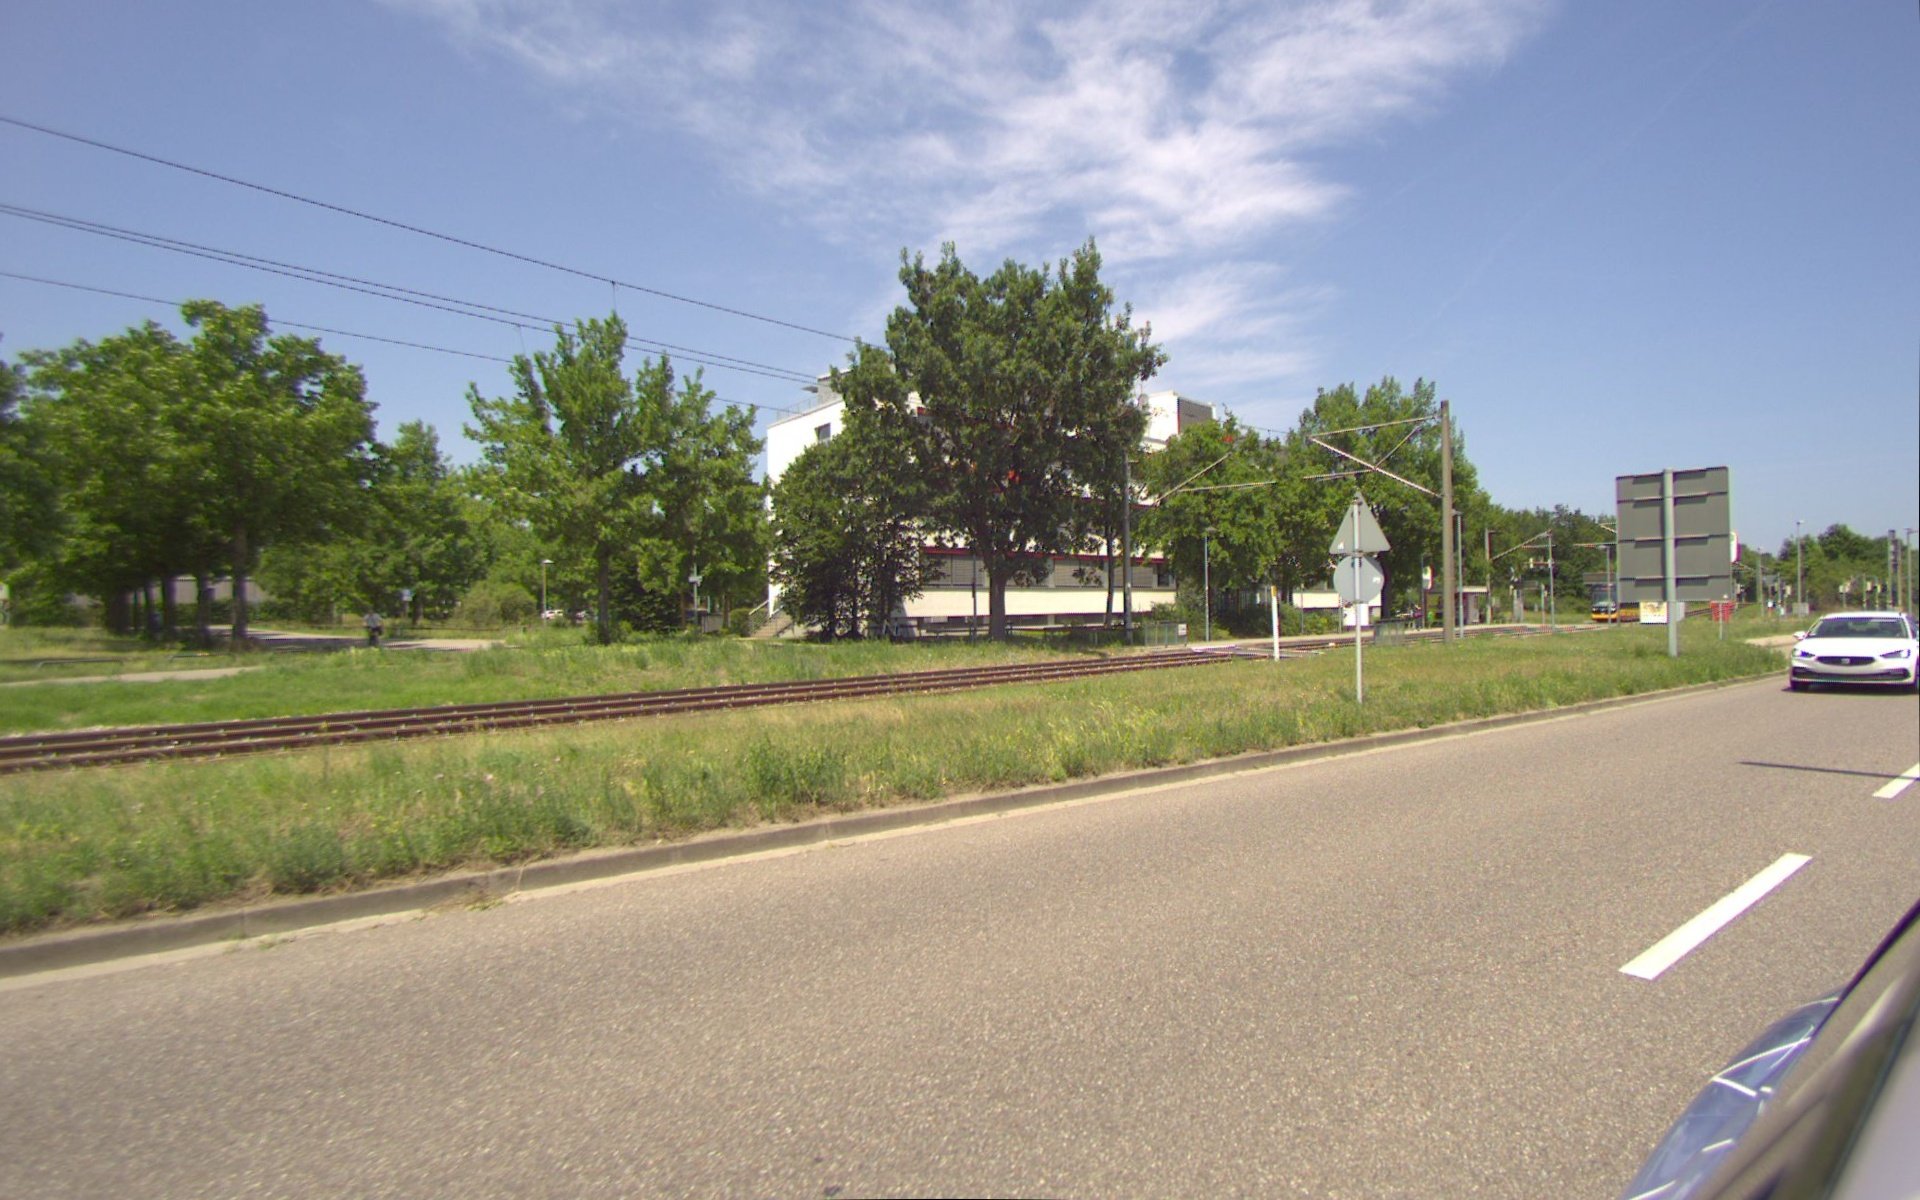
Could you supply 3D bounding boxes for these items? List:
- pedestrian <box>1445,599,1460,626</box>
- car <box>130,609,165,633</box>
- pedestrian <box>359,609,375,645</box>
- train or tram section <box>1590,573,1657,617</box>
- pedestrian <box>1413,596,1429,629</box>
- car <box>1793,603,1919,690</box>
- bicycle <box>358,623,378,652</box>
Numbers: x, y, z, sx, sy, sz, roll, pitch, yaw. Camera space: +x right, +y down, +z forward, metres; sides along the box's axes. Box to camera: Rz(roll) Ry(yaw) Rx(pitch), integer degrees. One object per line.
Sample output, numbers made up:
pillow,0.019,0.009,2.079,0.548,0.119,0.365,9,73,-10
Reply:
pedestrian,30.239,0.741,62.103,0.678,1.628,0.552,-1,-2,-41
car,-73.876,1.905,91.959,3.985,2.040,1.969,-4,-2,44
pedestrian,-23.588,1.070,40.268,0.451,1.421,0.583,0,-1,-43
train or tram section,59.260,-0.409,90.239,2.813,3.627,12.305,-1,-1,43
pedestrian,26.144,0.694,57.395,0.691,1.866,0.703,-3,-2,33
car,17.183,0.784,19.005,4.373,1.407,1.685,0,1,-41
bicycle,-23.572,1.476,40.281,0.424,1.134,1.578,0,-2,-40
